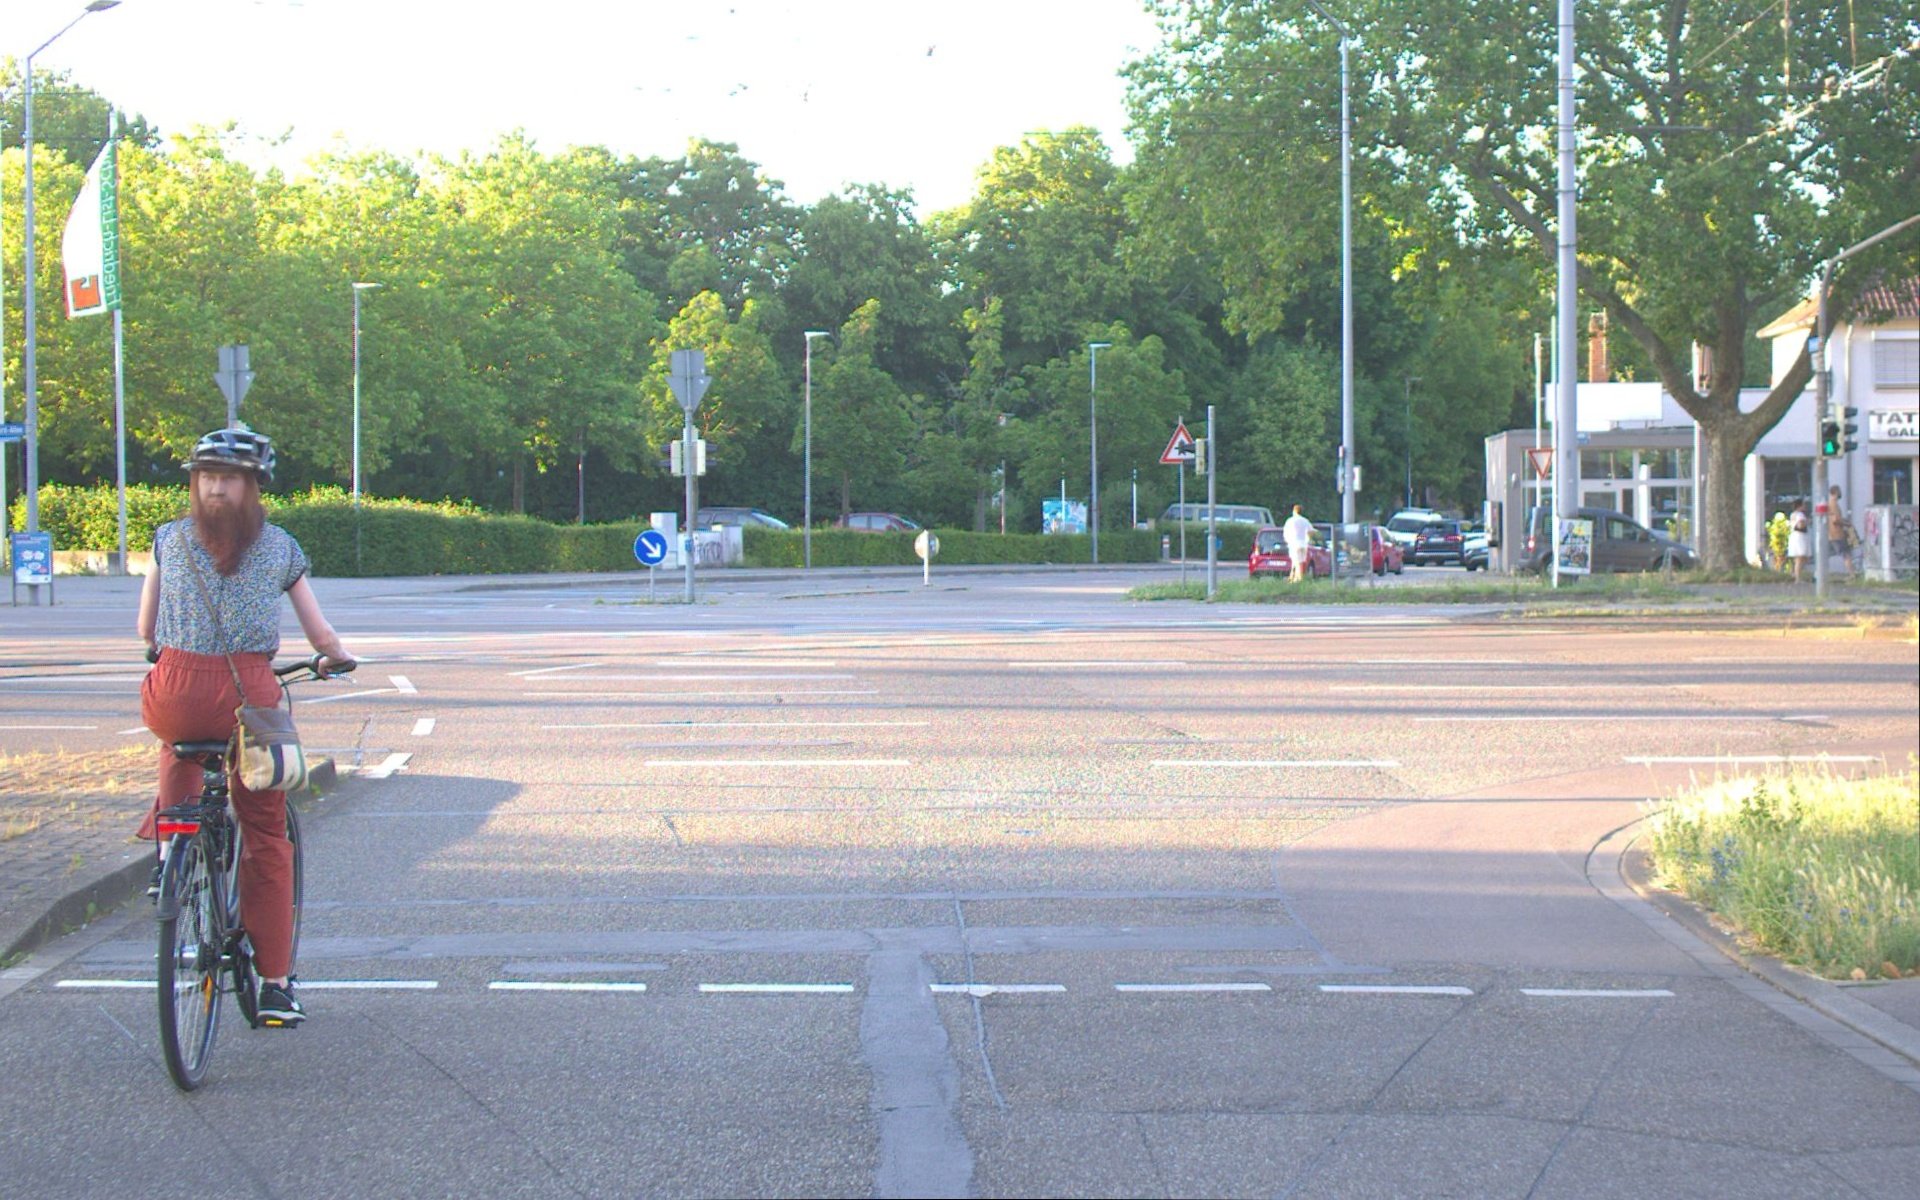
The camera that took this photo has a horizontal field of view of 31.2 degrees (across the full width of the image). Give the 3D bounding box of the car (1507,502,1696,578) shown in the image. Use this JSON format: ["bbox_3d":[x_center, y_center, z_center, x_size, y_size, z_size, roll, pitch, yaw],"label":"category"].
[{"bbox_3d":[15.689,-1.487,84.266,4.377,1.828,1.949,0,2,5],"label":"car"}]

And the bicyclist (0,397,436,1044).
[{"bbox_3d":[-2.052,0.308,9.593,1.031,1.712,0.996,0,1,-1],"label":"bicyclist"}]

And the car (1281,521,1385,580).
[{"bbox_3d":[10.298,-1.379,94.807,1.995,1.568,3.996,1,2,19],"label":"car"}]

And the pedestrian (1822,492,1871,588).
[{"bbox_3d":[16.255,-1.110,63.041,0.719,1.748,0.896,0,1,24],"label":"pedestrian"}]

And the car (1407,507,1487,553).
[{"bbox_3d":[17.044,-2.442,120.204,1.757,1.535,4.395,0,0,22],"label":"car"}]

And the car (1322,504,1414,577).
[{"bbox_3d":[11.720,-1.721,98.619,1.916,2.040,3.997,0,2,17],"label":"car"}]

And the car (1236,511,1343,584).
[{"bbox_3d":[8.733,-1.420,90.998,1.870,1.868,3.870,1,2,21],"label":"car"}]

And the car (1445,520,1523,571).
[{"bbox_3d":[16.890,-1.771,110.657,1.916,1.597,3.997,0,2,17],"label":"car"}]

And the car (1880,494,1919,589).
[{"bbox_3d":[20.496,-1.163,67.775,4.230,1.840,2.000,0,1,2],"label":"car"}]

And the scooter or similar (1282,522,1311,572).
[{"bbox_3d":[7.507,-1.182,76.671,0.510,1.086,1.243,0,1,-1],"label":"scooter or similar"}]

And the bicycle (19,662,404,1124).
[{"bbox_3d":[-2.046,0.754,9.675,0.634,1.064,2.122,0,1,-1],"label":"bicycle"}]

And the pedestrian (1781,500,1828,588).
[{"bbox_3d":[15.834,-1.054,64.448,0.719,1.633,0.896,0,1,24],"label":"pedestrian"}]

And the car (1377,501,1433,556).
[{"bbox_3d":[16.358,-2.646,126.473,1.994,2.007,3.999,0,2,7],"label":"car"}]

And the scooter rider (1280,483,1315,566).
[{"bbox_3d":[7.519,-1.679,76.693,0.702,1.848,0.669,0,0,-1],"label":"scooter rider"}]
